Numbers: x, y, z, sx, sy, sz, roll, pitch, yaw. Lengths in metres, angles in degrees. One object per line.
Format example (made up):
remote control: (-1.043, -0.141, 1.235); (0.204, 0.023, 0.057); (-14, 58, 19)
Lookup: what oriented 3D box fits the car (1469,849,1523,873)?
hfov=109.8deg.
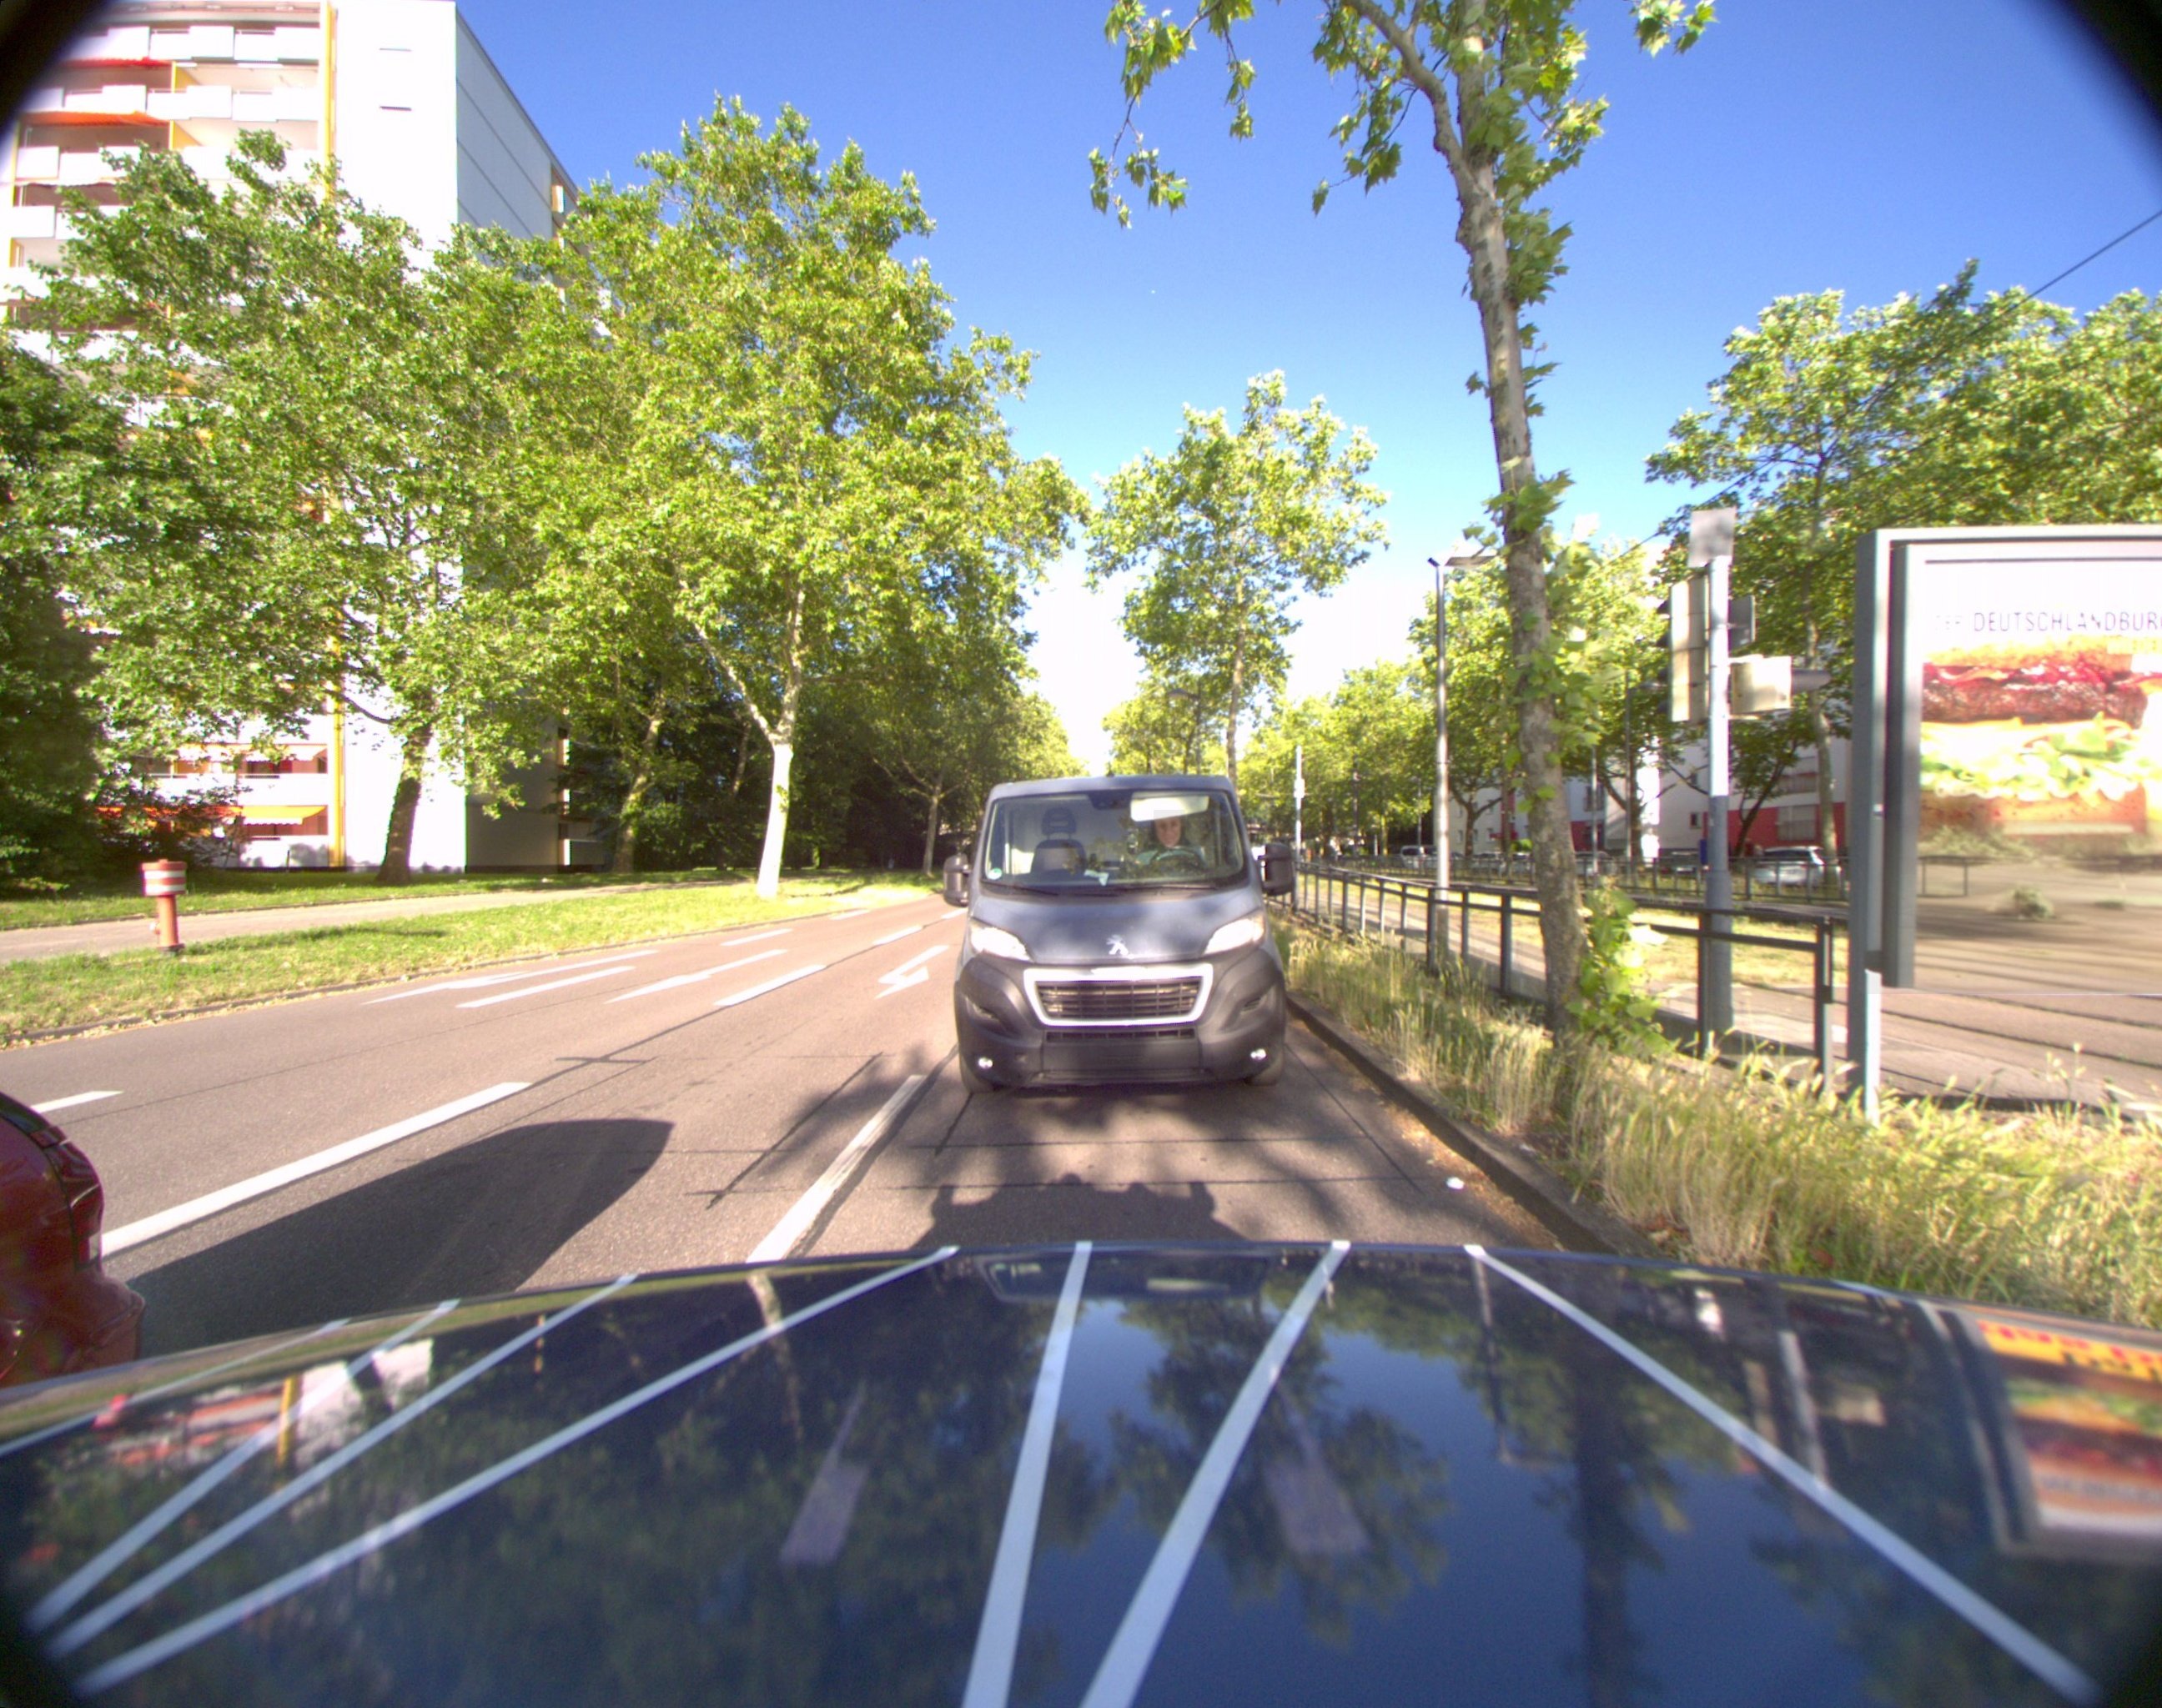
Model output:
car: (25.949, 0.418, 47.468); (3.689, 1.440, 1.645); (-1, 1, -39)

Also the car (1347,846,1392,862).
car: (26.721, -0.004, 70.239); (4.376, 1.367, 1.919); (-1, 1, -39)

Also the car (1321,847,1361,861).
car: (27.234, 0.029, 79.547); (4.376, 1.367, 1.919); (-1, 1, -39)

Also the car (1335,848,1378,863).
car: (26.580, 0.103, 73.251); (4.376, 1.367, 1.919); (-1, 1, -39)

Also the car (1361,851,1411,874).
car: (19.730, 0.501, 49.336); (1.825, 1.412, 3.758); (-1, 0, 2)

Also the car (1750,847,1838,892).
car: (25.049, 0.495, 26.659); (3.689, 1.425, 1.683); (-1, 1, -38)

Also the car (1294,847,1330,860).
car: (27.193, -0.054, 89.401); (4.376, 1.367, 1.919); (-1, 1, -39)

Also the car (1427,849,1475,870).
car: (26.237, 0.350, 53.871); (3.689, 1.388, 1.645); (-1, 1, -39)

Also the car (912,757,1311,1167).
car: (0.197, 0.556, 6.543); (2.040, 2.102, 5.113); (-2, 0, 1)

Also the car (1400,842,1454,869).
car: (25.953, 0.088, 56.965); (4.376, 1.873, 1.919); (-1, 1, -39)

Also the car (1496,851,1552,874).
car: (26.192, 0.484, 44.933); (3.689, 1.234, 1.645); (-1, 1, -39)

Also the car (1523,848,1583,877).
car: (25.803, 0.431, 41.491); (3.689, 1.440, 1.645); (-1, 1, -39)

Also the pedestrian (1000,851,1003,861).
pedestrian: (-11.618, 0.321, 111.330); (0.398, 1.454, 0.417); (-1, 1, 3)

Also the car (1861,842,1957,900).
car: (25.011, 0.463, 22.933); (3.689, 1.558, 1.683); (-1, 1, -38)

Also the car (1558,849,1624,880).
car: (25.323, 0.503, 37.663); (3.689, 1.384, 1.645); (-1, 1, -38)
